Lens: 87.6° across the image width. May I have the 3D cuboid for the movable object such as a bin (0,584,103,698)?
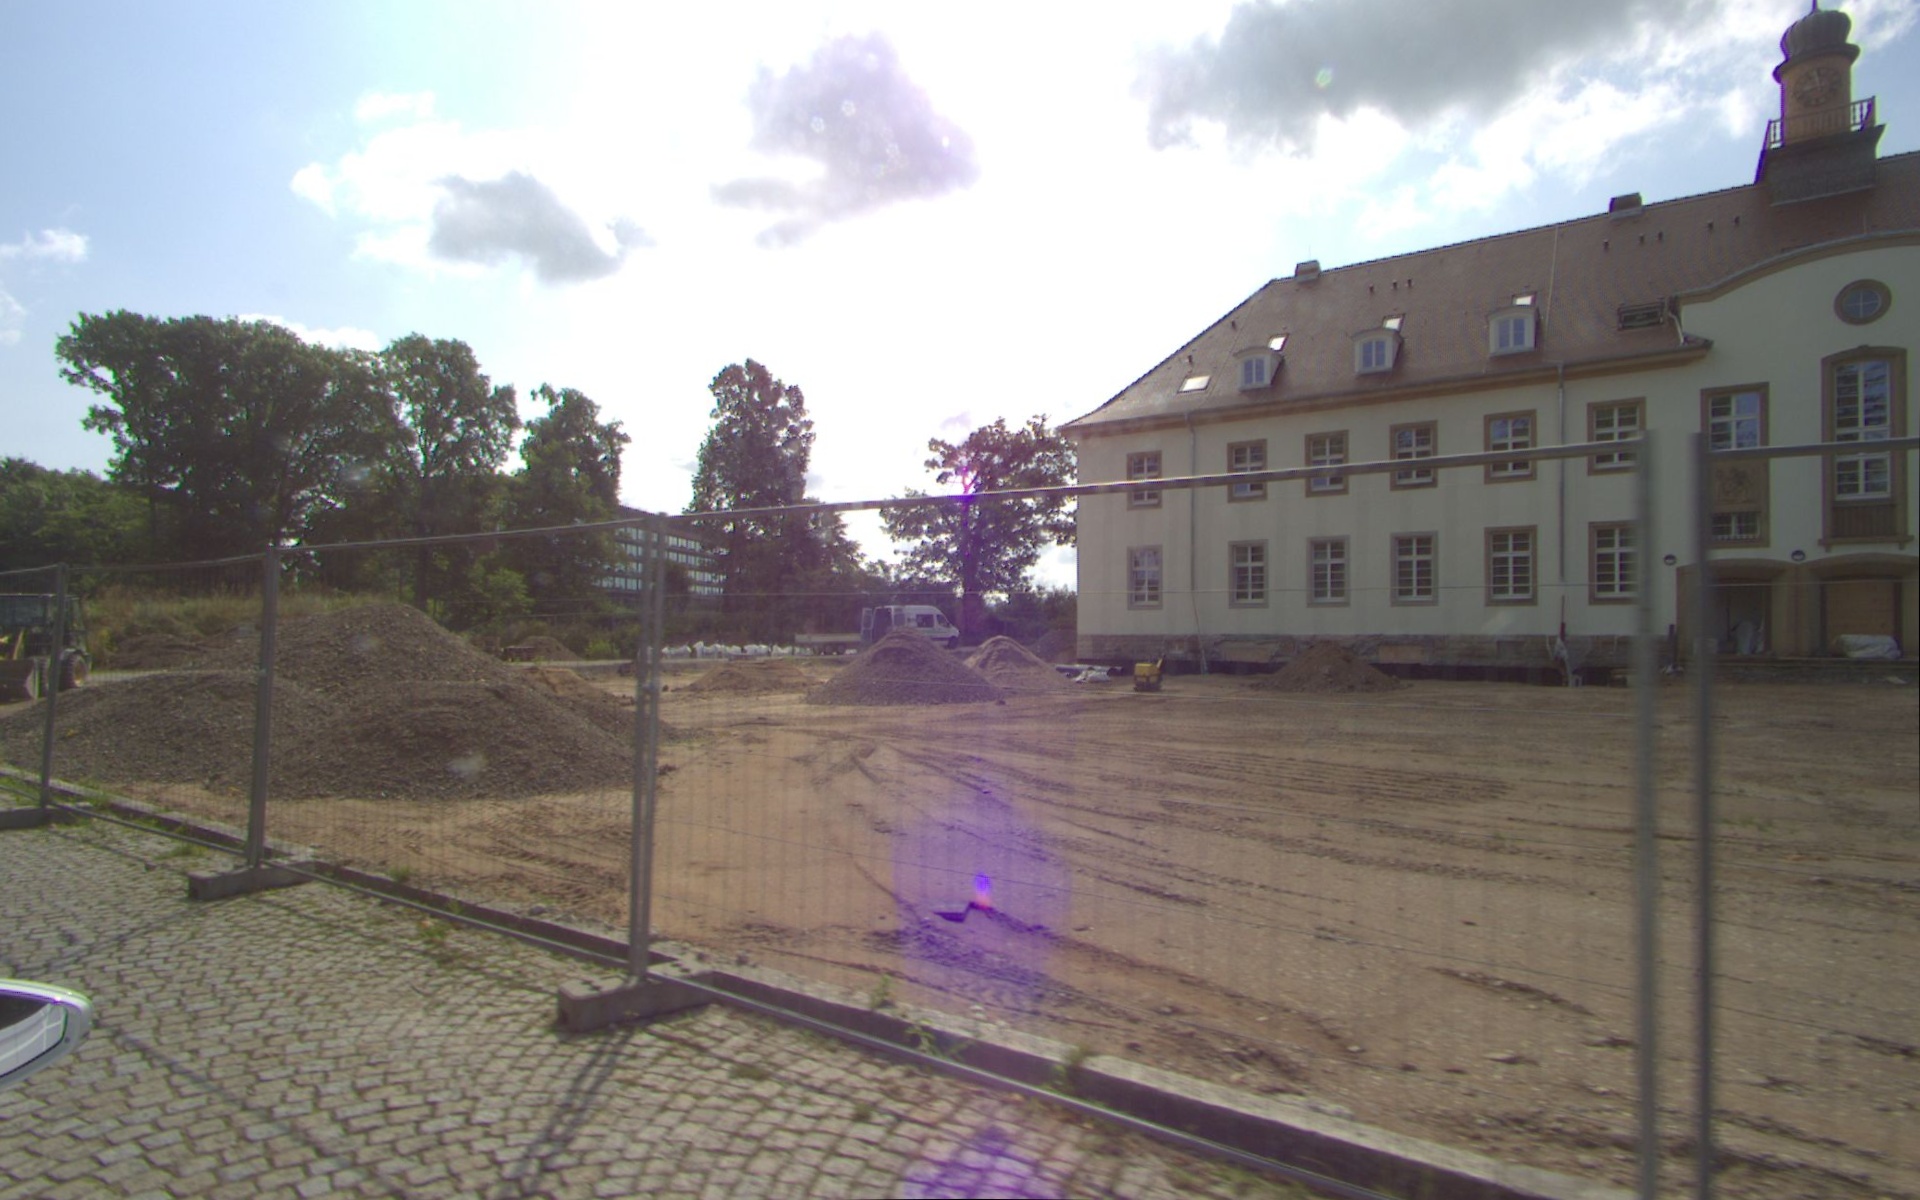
[{"bbox_3d":[-23.363,0.994,24.846,2.103,2.626,4.771,1,-2,-27],"label":"movable object such as a bin"}]

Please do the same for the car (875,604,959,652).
[{"bbox_3d":[-2.479,1.643,58.611,4.772,2.676,2.036,2,-2,-44],"label":"car"}]

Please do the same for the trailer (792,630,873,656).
[{"bbox_3d":[-7.008,2.342,54.992,3.945,1.371,2.077,1,-2,-32],"label":"trailer"}]
